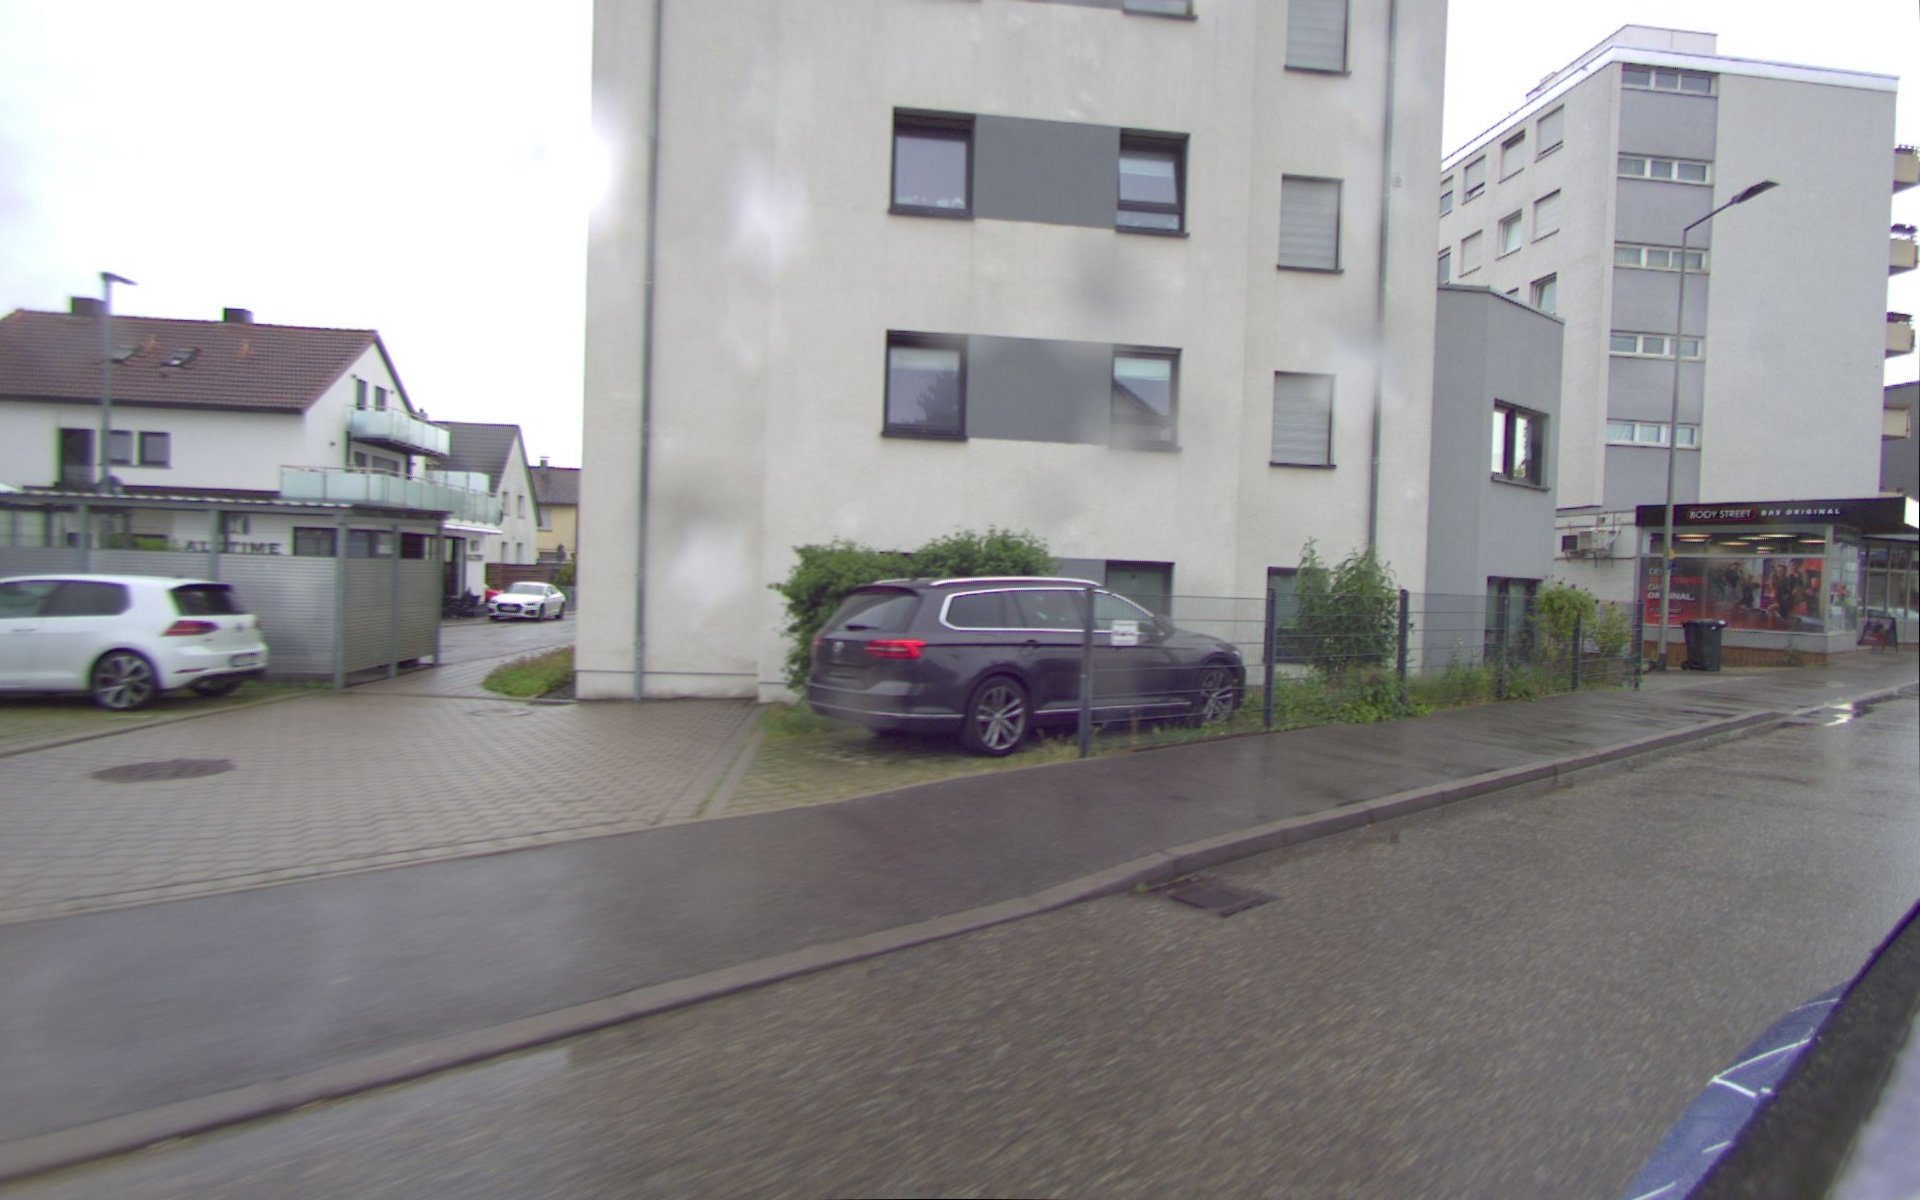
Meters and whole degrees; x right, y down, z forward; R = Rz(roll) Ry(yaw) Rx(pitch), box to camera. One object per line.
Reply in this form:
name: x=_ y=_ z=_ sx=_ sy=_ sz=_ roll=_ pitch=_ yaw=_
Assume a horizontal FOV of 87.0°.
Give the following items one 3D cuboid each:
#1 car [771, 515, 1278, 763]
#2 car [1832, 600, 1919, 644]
car: x=0.761 y=0.257 z=9.601 sx=4.604 sy=1.807 sz=1.999 roll=0 pitch=2 yaw=-38
car: x=34.662 y=0.836 z=36.741 sx=1.834 sy=1.513 sz=4.279 roll=3 pitch=0 yaw=-11
